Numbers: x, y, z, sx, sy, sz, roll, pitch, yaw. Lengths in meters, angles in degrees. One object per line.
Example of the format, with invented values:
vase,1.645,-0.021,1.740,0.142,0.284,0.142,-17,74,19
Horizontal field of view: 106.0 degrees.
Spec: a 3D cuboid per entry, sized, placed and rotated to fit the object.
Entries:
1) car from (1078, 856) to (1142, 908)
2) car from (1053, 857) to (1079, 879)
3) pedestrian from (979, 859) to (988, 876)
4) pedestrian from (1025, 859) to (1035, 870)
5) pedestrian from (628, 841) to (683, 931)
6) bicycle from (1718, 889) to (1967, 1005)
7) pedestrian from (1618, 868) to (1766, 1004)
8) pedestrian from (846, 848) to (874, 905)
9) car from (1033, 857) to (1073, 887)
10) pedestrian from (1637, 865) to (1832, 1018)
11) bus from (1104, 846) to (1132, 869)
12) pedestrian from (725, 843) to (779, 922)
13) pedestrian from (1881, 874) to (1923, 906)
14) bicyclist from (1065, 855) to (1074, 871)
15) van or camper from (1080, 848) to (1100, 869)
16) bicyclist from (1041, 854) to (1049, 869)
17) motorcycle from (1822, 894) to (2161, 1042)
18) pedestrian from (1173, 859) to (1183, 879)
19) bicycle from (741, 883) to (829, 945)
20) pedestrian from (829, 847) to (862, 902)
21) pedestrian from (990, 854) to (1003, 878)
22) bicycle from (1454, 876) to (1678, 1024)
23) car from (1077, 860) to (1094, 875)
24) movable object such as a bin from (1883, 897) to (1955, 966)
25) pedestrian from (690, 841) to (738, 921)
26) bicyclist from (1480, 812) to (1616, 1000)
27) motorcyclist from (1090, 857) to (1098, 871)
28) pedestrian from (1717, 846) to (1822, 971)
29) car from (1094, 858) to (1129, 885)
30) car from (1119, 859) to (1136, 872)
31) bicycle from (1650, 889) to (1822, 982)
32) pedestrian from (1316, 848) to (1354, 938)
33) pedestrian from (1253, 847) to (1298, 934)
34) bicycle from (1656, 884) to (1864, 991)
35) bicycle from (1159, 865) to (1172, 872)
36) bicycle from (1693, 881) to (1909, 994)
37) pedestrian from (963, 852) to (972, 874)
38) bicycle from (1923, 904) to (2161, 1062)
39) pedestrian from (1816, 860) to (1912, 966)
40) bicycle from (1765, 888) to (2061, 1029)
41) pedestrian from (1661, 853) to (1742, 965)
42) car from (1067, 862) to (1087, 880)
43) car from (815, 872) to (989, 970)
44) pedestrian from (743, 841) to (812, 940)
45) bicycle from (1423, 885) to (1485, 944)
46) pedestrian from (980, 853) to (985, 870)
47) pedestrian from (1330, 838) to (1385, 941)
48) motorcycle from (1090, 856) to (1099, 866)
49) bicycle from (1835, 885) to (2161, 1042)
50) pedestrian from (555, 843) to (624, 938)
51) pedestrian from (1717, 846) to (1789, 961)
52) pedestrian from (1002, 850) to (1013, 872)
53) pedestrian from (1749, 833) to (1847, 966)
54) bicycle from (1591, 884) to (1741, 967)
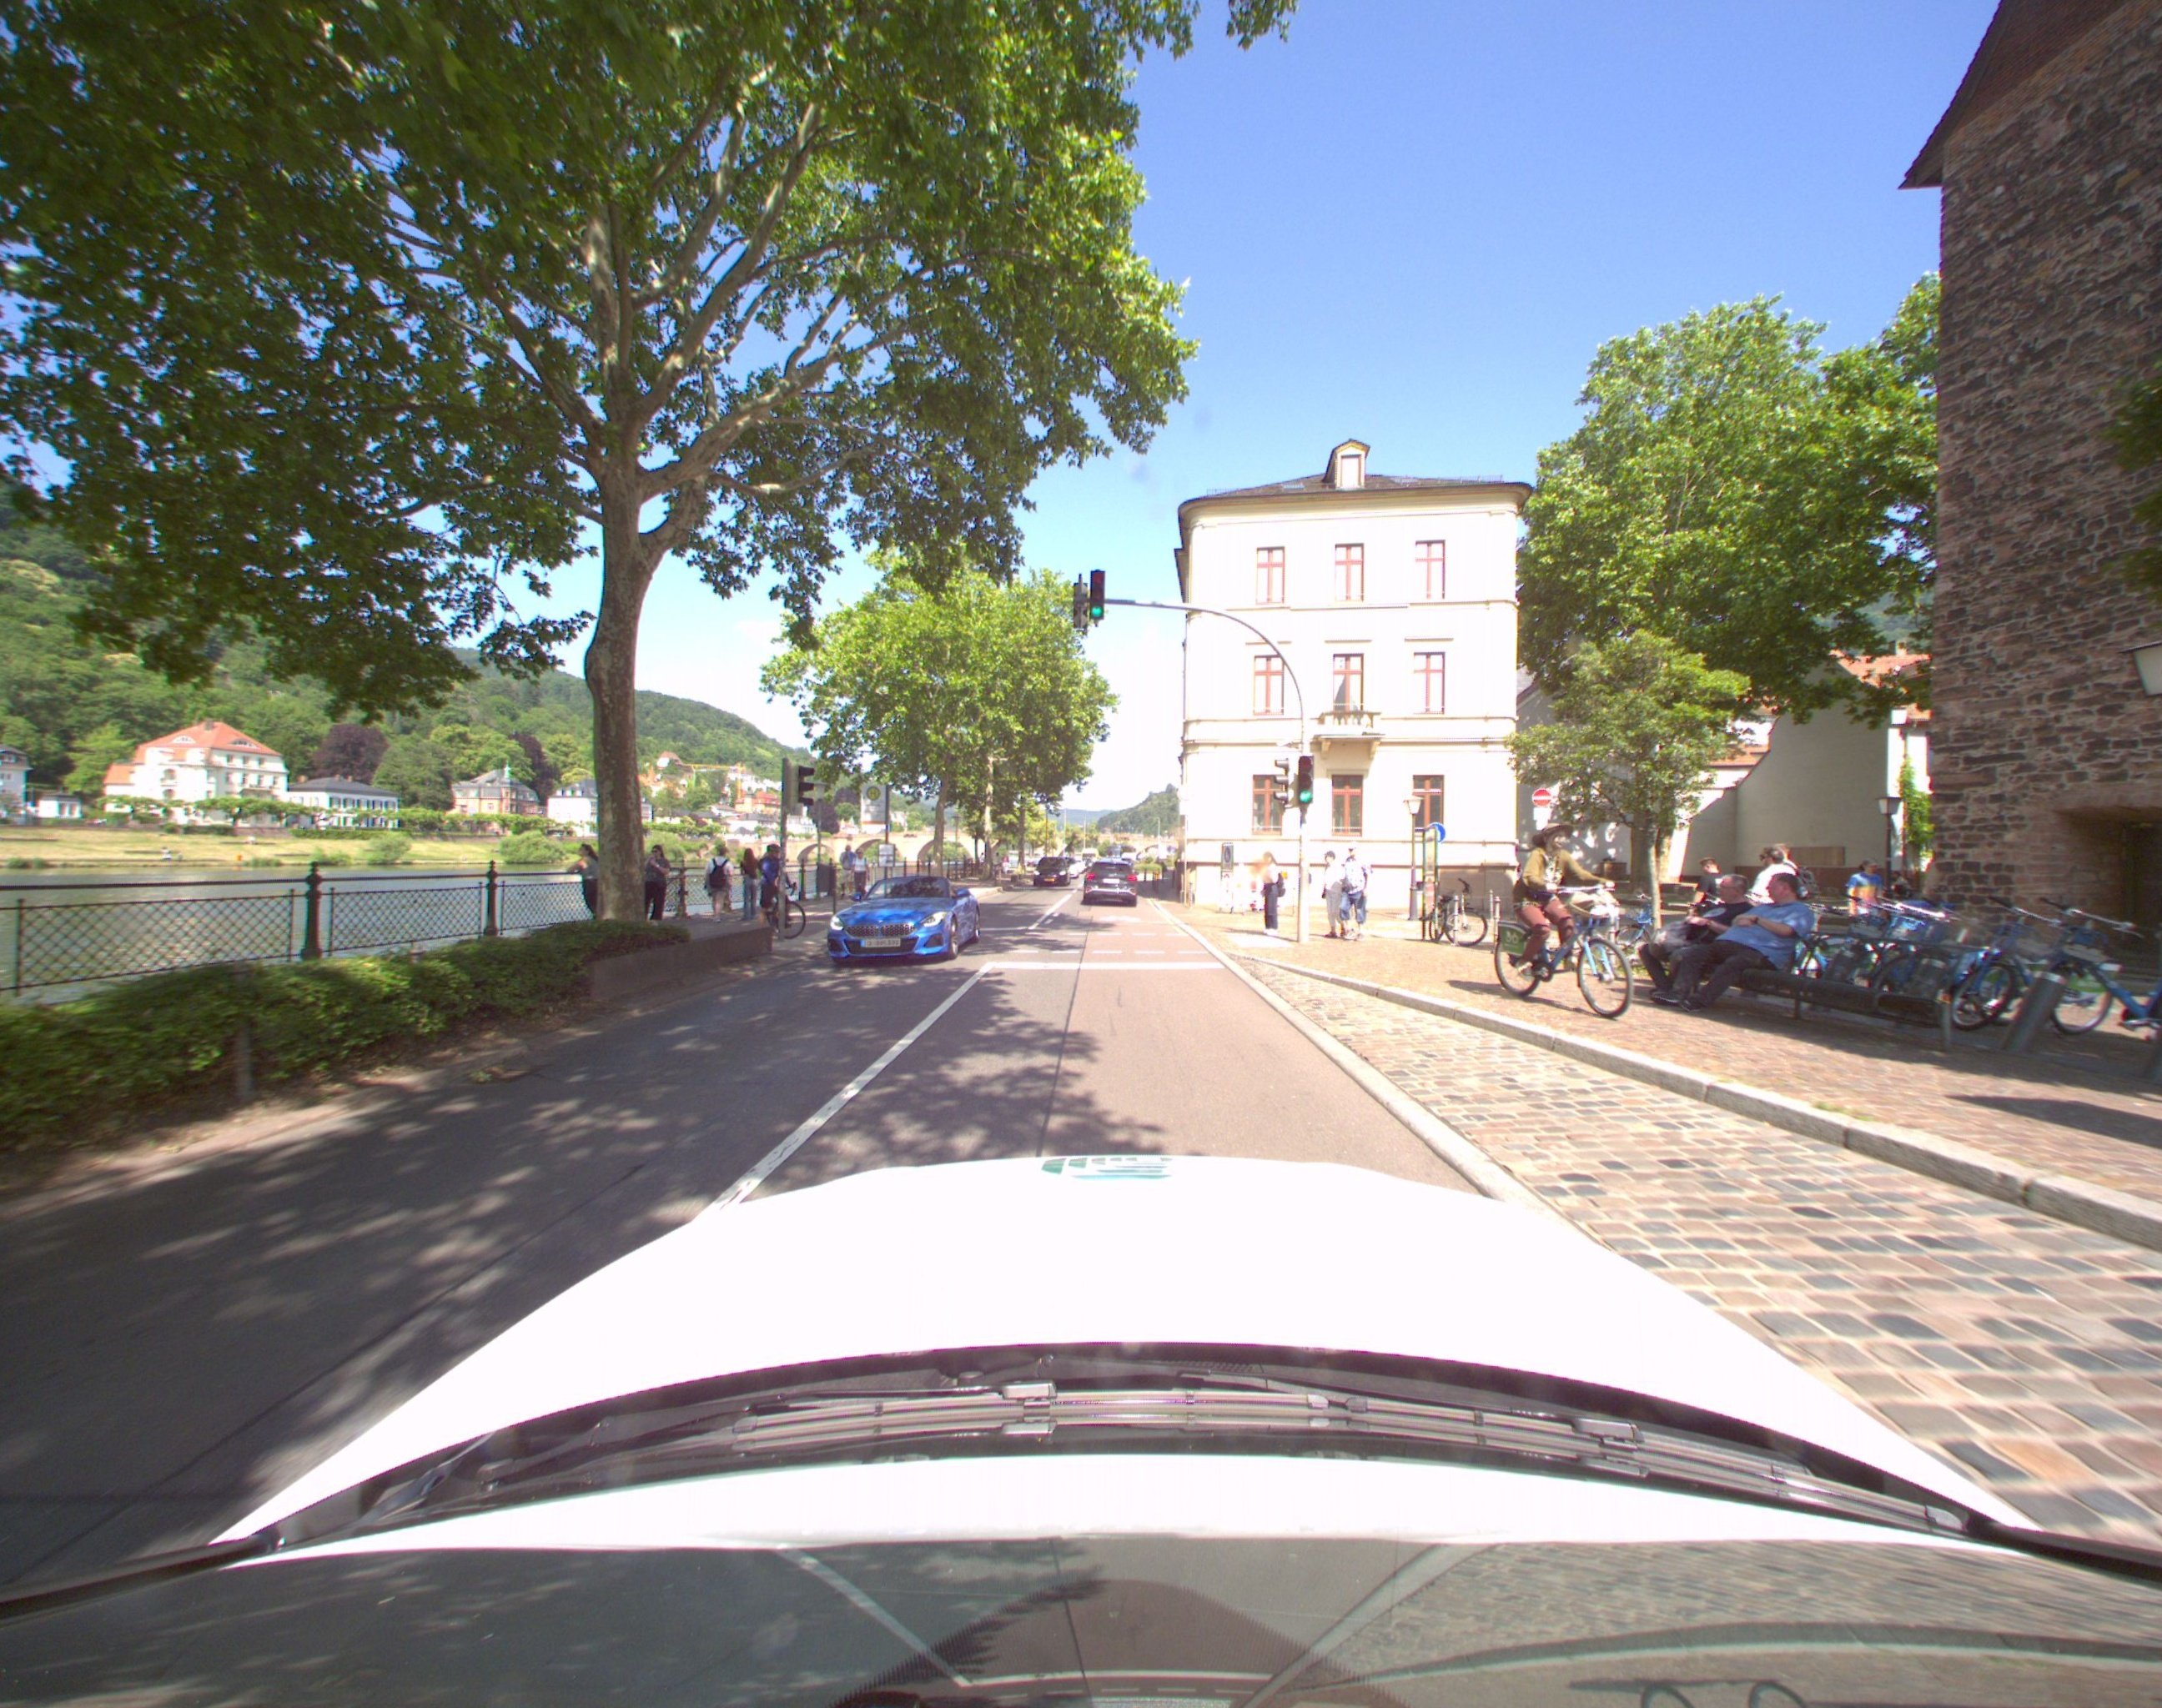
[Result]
car,0.915,0.905,28.271,1.921,1.553,4.830,3,0,-1
car,-1.094,0.976,58.014,1.730,1.518,4.401,0,0,-2
pedestrian,-9.389,1.341,78.654,0.689,1.616,0.665,1,-1,9
pedestrian,-5.970,1.249,95.610,0.930,1.281,0.852,1,-1,10
pedestrian,-8.310,0.619,15.931,0.616,1.700,0.696,2,-1,1
bicycle,8.061,0.967,8.670,2.073,1.085,0.604,2,0,0
pedestrian,6.090,0.793,8.157,0.957,1.282,0.693,1,-1,0
pedestrian,-6.491,0.660,23.959,0.492,1.617,0.992,1,-1,1
car,-1.460,0.952,44.080,1.694,1.518,4.408,-1,-1,3
pedestrian,5.966,0.771,7.480,1.243,1.308,0.693,1,-1,-1
bus,6.293,0.700,136.536,2.614,3.564,13.021,1,-1,11
pedestrian,-7.345,0.630,18.198,0.832,1.714,0.783,1,-1,1
pedestrian,30.630,1.334,30.401,0.975,1.147,0.819,0,-1,34
bicyclist,-1.114,0.886,80.306,0.763,1.531,1.026,2,1,4
van or camper,1.150,0.574,101.475,2.079,2.557,7.097,2,-1,3
bicyclist,-3.722,0.788,84.210,0.716,1.583,1.090,1,-1,4
motorcycle,7.979,0.971,7.166,2.197,1.104,0.776,2,0,0
pedestrian,8.333,1.294,70.057,0.758,1.714,0.697,-2,-1,5
bicycle,-5.597,1.103,15.360,1.808,0.925,0.747,6,2,42
pedestrian,-7.635,0.655,26.429,0.709,1.764,0.972,1,-1,1
pedestrian,-5.620,0.816,54.078,0.759,1.586,0.696,1,-1,1
bicycle,4.293,0.785,7.426,0.688,1.129,2.005,1,-1,-6
car,0.534,1.425,86.888,1.694,1.458,4.004,1,-1,2
movable object such as a bin,14.626,1.338,14.231,0.487,1.124,0.751,1,-1,2
pedestrian,-7.948,0.575,17.658,0.650,1.713,0.793,0,-1,1
bicyclist,4.289,0.462,7.542,0.708,1.628,0.885,1,-1,-6
motorcyclist,1.451,1.133,92.593,0.876,1.583,1.024,1,-1,-2
pedestrian,10.141,0.781,12.013,0.805,1.753,0.903,1,-1,-18
car,1.848,0.983,48.042,1.918,1.461,4.836,1,0,3
car,5.992,1.447,104.102,1.916,1.553,4.841,0,0,7
bicycle,8.749,1.081,10.923,1.786,1.110,0.608,2,0,0
pedestrian,4.941,0.750,15.890,0.525,1.712,0.665,1,-1,1
pedestrian,3.865,0.712,16.205,0.713,1.675,0.682,1,-1,1
bicycle,8.523,1.034,10.266,2.072,1.198,0.608,2,0,0
bicycle,11.967,1.993,115.257,1.801,0.878,0.503,3,0,5
bicycle,8.514,0.976,9.664,2.073,1.198,0.527,2,0,0
pedestrian,-10.299,0.840,73.983,0.691,1.945,0.887,1,-1,1
bicycle,8.001,0.989,6.348,2.018,1.066,0.801,2,0,0
pedestrian,13.545,0.997,14.115,0.755,1.760,0.960,1,-1,1
bicycle,8.055,0.986,7.950,2.073,1.198,0.776,2,0,0
pedestrian,10.359,0.884,13.599,0.995,1.765,0.916,2,-1,-43
car,-0.350,1.506,74.212,1.695,1.445,4.093,2,1,1
car,-2.765,0.983,13.582,1.834,1.269,4.262,-2,-1,1
pedestrian,-5.748,0.661,15.427,1.012,1.772,0.773,3,1,42
bicycle,6.782,1.088,14.860,0.505,1.004,1.581,2,-4,4
pedestrian,-9.468,0.729,78.309,0.412,1.597,0.452,1,-1,9
pedestrian,5.118,0.643,15.106,0.620,1.852,0.722,2,-1,-34
motorcycle,1.515,0.761,92.662,0.881,1.077,2.327,1,2,-2
bicycle,8.043,0.927,7.166,2.073,1.198,0.776,2,0,0
pedestrian,-8.785,0.639,14.593,0.547,1.608,0.911,3,-1,1
pedestrian,11.858,0.851,14.375,0.808,1.942,0.782,2,-1,-34
pedestrian,-5.760,0.554,63.739,0.654,1.682,0.759,4,-1,1
pedestrian,11.038,0.683,12.553,0.655,1.960,0.934,1,-1,-18
bicycle,8.637,1.048,12.052,1.786,1.110,0.563,2,0,0
